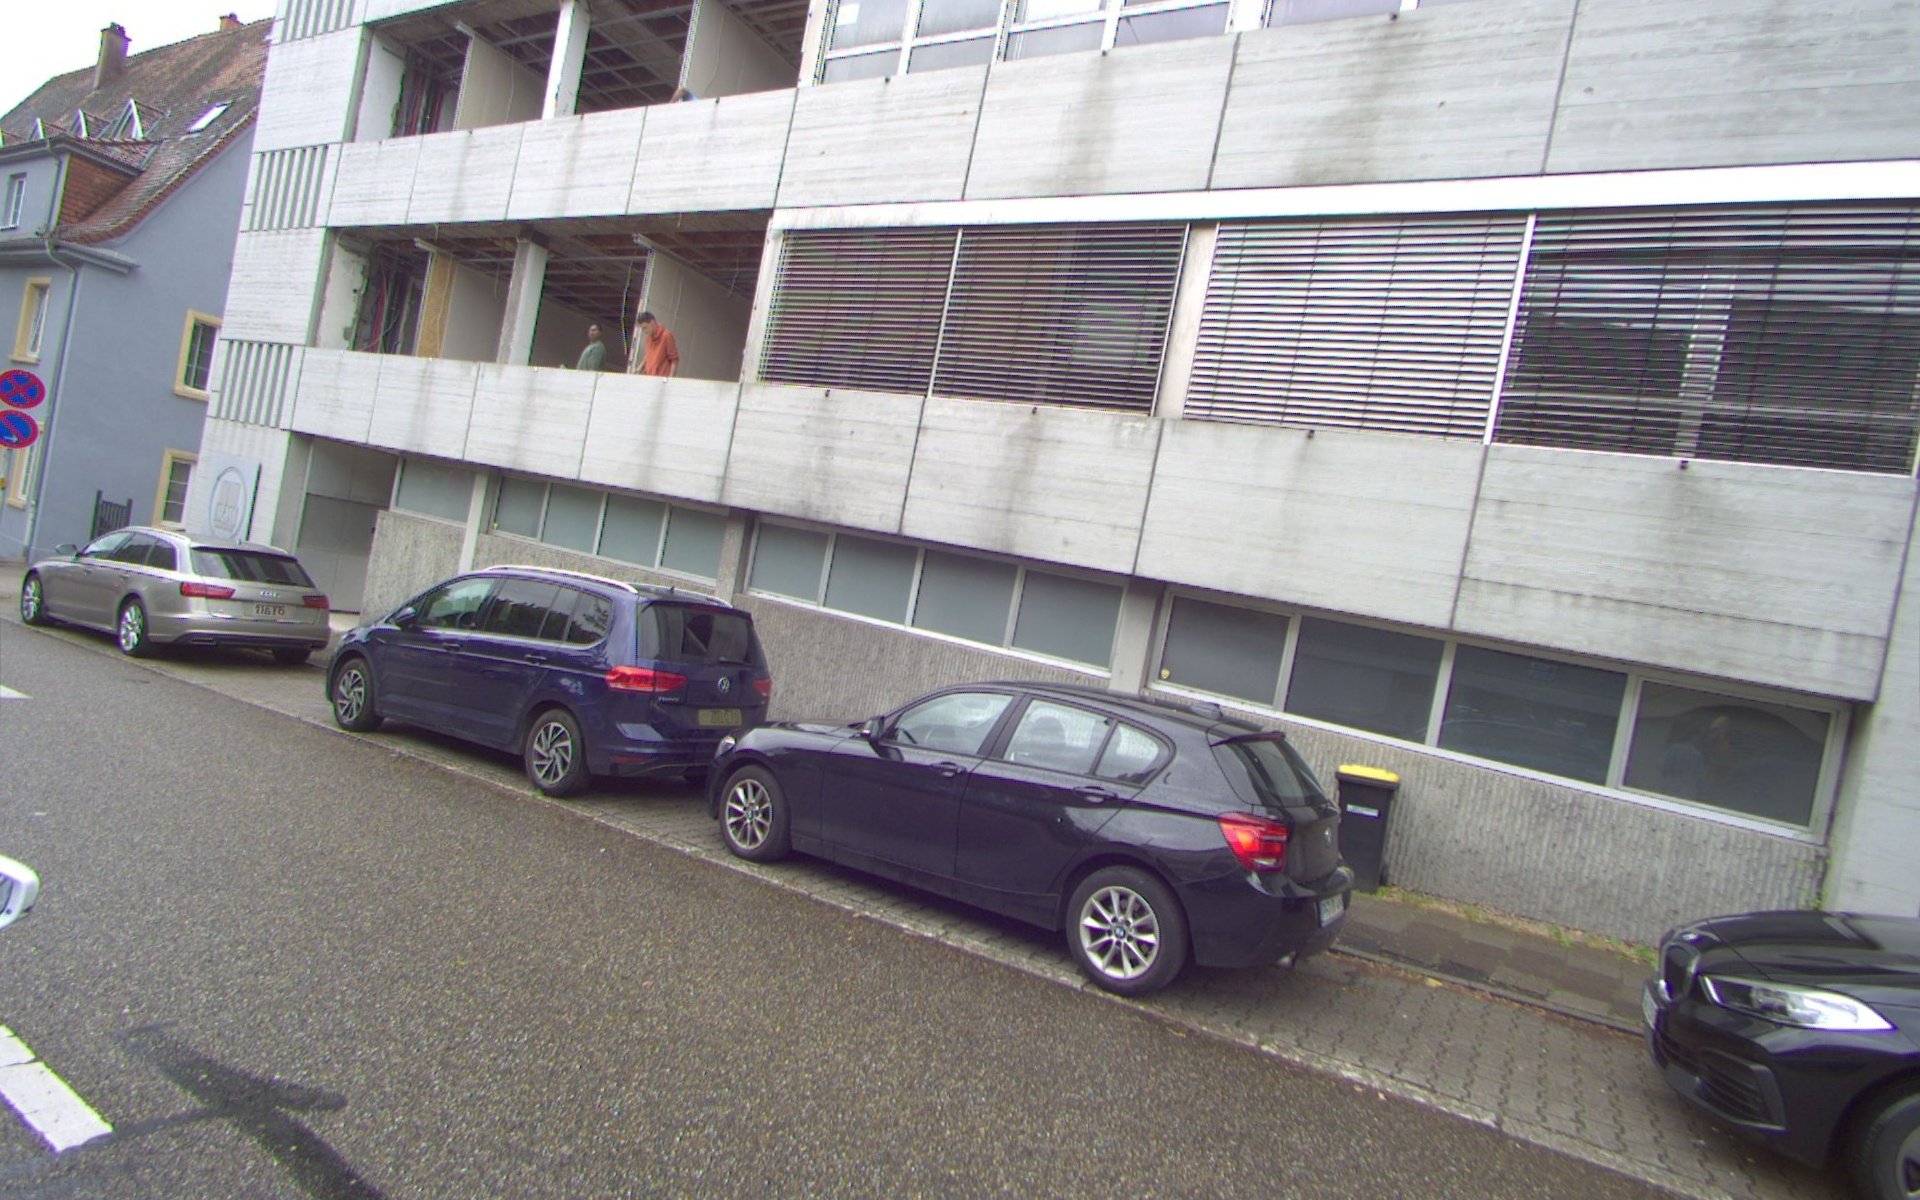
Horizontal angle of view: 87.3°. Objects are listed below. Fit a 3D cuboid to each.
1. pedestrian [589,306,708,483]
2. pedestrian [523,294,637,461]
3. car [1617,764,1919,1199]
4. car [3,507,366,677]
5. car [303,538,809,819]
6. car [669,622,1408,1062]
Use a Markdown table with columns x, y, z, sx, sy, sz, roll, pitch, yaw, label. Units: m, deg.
| x | y | z | sx | sy | sz | roll | pitch | yaw | label |
| --- | --- | --- | --- | --- | --- | --- | --- | --- | --- |
| -4.043 | -2.638 | 13.104 | 0.847 | 2.036 | 0.909 | 6 | -2 | 31 | pedestrian |
| -5.266 | -3.051 | 13.968 | 0.847 | 2.036 | 0.909 | 6 | -2 | 31 | pedestrian |
| 5.078 | 1.780 | 3.533 | 4.367 | 1.453 | 1.997 | 7 | 0 | 30 | car |
| -9.812 | -0.125 | 12.675 | 4.449 | 1.465 | 1.967 | 7 | -1 | 30 | car |
| -3.538 | 0.554 | 8.651 | 4.090 | 1.618 | 1.732 | 7 | -1 | 30 | car |
| 0.326 | 1.170 | 6.310 | 4.183 | 1.465 | 1.750 | 7 | -1 | 34 | car |
